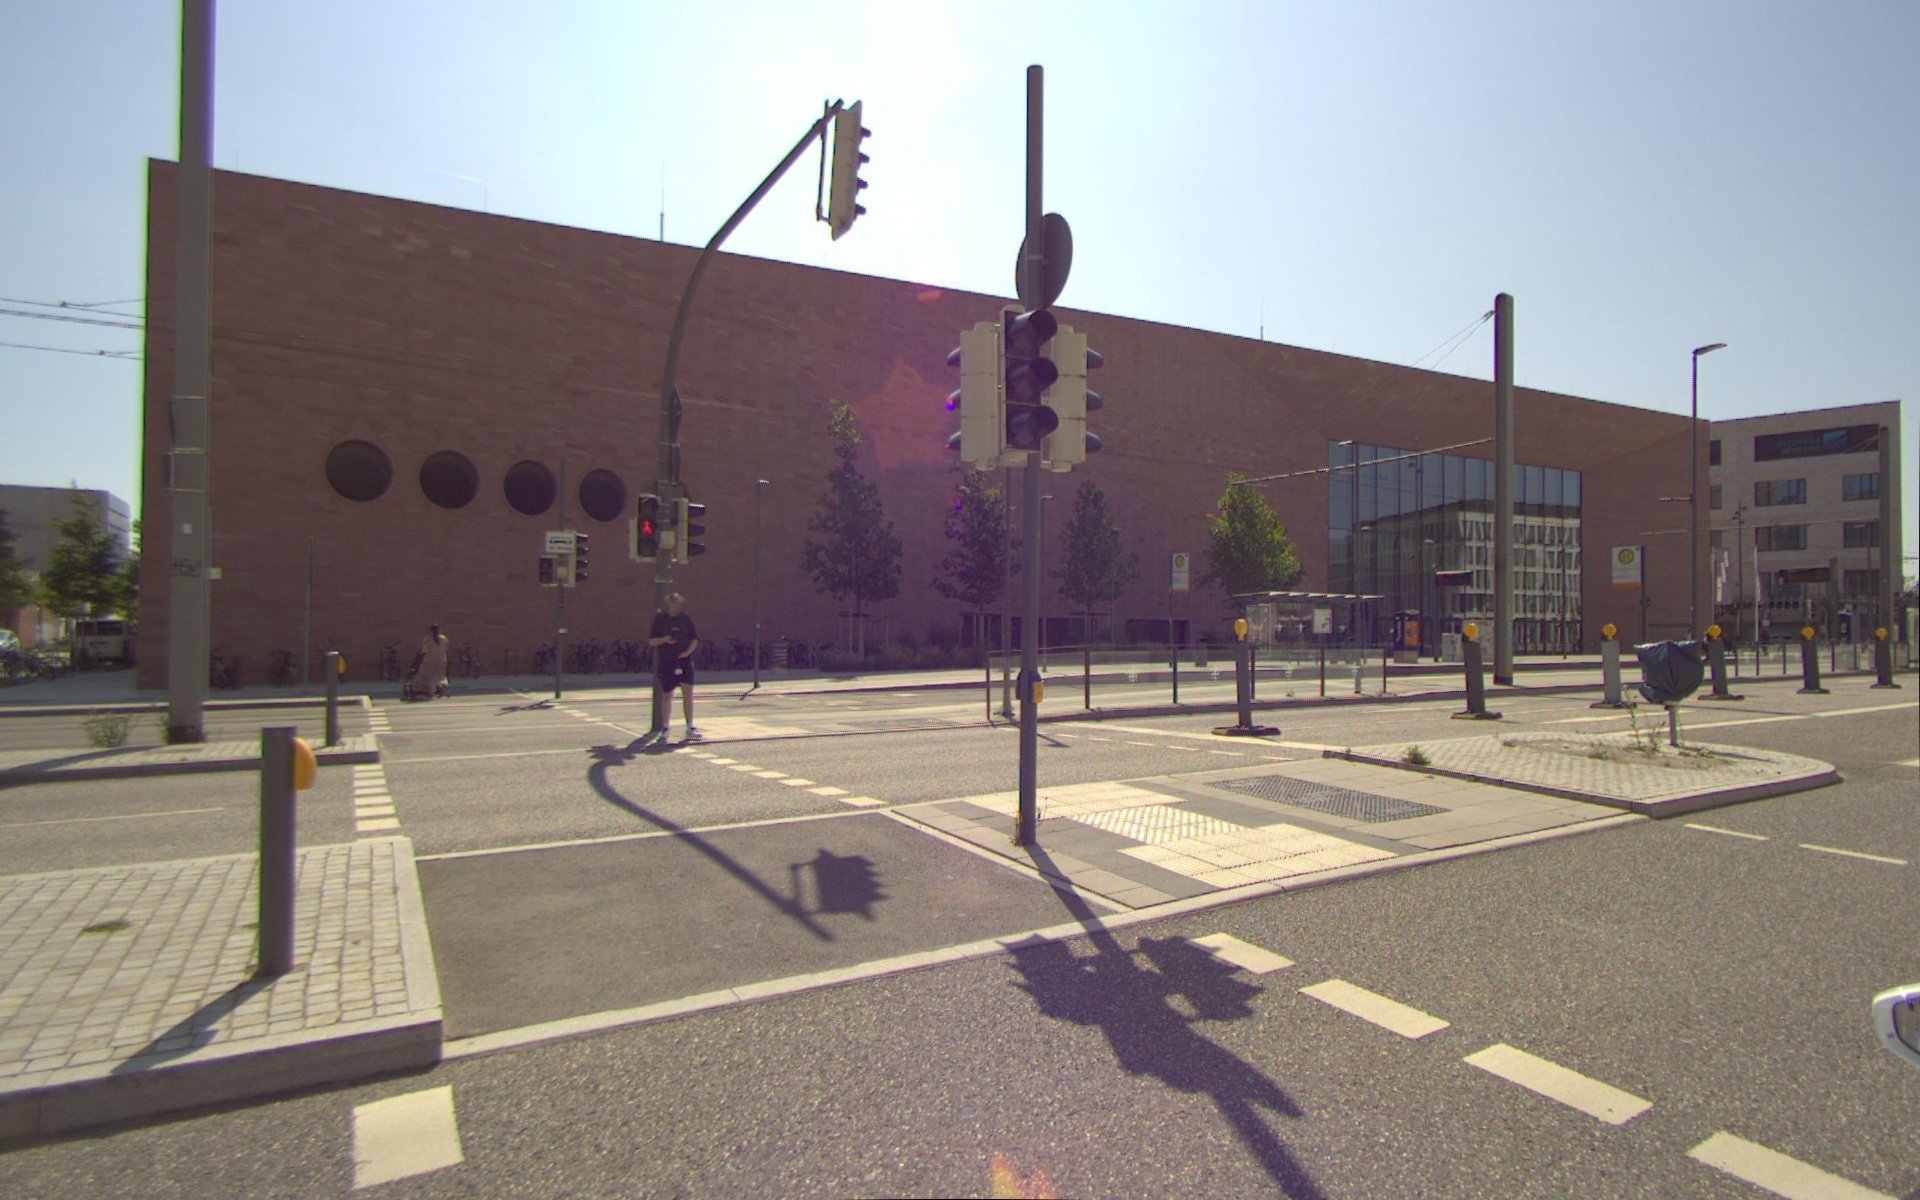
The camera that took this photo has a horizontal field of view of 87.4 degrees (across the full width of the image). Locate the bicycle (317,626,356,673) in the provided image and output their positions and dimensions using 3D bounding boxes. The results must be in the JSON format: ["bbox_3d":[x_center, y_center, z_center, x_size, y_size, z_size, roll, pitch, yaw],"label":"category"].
[{"bbox_3d":[-17.468,1.361,28.107,0.536,1.228,2.031,1,-1,-43],"label":"bicycle"}]

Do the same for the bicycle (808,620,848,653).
[{"bbox_3d":[-5.210,1.422,39.545,0.535,1.228,2.032,1,-1,-41],"label":"bicycle"}]

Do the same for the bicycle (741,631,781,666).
[{"bbox_3d":[-7.426,1.780,37.421,0.535,1.228,2.032,1,-1,-41],"label":"bicycle"}]

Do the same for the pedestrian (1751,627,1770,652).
[{"bbox_3d":[51.831,2.555,65.036,0.881,1.592,0.707,1,-2,-32],"label":"pedestrian"}]

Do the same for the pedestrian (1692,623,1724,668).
[{"bbox_3d":[31.491,1.891,42.272,0.816,1.844,0.807,1,0,-31],"label":"pedestrian"}]

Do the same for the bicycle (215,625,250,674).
[{"bbox_3d":[-19.210,1.279,26.512,0.535,1.228,2.032,1,-1,-41],"label":"bicycle"}]

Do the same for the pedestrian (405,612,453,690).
[{"bbox_3d":[-11.126,1.044,21.049,0.785,1.583,0.924,1,-1,-34],"label":"pedestrian"}]

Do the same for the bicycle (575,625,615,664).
[{"bbox_3d":[-12.092,1.467,33.239,0.535,1.228,2.032,1,-1,-41],"label":"bicycle"}]

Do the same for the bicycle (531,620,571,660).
[{"bbox_3d":[-13.160,1.277,32.259,0.535,1.228,2.032,2,-1,-41],"label":"bicycle"}]

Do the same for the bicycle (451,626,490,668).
[{"bbox_3d":[-15.015,1.413,30.765,0.535,1.228,2.032,1,-1,-41],"label":"bicycle"}]

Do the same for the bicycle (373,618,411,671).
[{"bbox_3d":[-16.448,1.269,29.065,0.535,1.472,2.032,1,-1,-41],"label":"bicycle"}]

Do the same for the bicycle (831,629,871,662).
[{"bbox_3d":[-4.388,1.807,40.314,0.535,1.228,2.032,1,-1,-41],"label":"bicycle"}]

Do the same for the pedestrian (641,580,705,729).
[{"bbox_3d":[-3.709,0.689,12.961,0.652,1.858,0.650,1,0,-27],"label":"pedestrian"}]

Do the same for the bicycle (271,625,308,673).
[{"bbox_3d":[-18.248,1.319,27.321,0.535,1.228,2.032,1,-1,-41],"label":"bicycle"}]

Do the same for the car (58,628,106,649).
[{"bbox_3d":[-64.929,2.832,74.371,1.978,1.421,3.966,3,-2,-32],"label":"car"}]

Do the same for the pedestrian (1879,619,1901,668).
[{"bbox_3d":[35.566,1.671,38.423,0.542,1.844,0.598,1,0,38],"label":"pedestrian"}]

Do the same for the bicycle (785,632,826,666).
[{"bbox_3d":[-5.972,1.859,38.640,0.535,1.228,2.032,1,-1,-41],"label":"bicycle"}]

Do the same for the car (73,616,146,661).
[{"bbox_3d":[-34.653,1.550,41.025,1.674,1.712,3.525,1,-1,-31],"label":"car"}]

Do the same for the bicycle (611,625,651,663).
[{"bbox_3d":[-11.207,1.496,34.196,0.535,1.228,2.032,1,-1,-41],"label":"bicycle"}]

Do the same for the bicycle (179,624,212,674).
[{"bbox_3d":[-19.891,1.259,26.116,0.535,1.228,2.032,1,-1,-41],"label":"bicycle"}]

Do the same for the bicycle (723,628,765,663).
[{"bbox_3d":[-7.903,1.648,36.682,0.740,1.228,1.869,2,-1,-38],"label":"bicycle"}]

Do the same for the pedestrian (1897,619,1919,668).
[{"bbox_3d":[36.365,1.662,38.418,0.654,1.844,0.721,1,0,36],"label":"pedestrian"}]

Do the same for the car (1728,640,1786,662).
[{"bbox_3d":[73.025,4.622,92.051,1.786,1.840,3.904,3,-2,-43],"label":"car"}]

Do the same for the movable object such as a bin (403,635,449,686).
[{"bbox_3d":[-11.568,1.299,21.754,0.786,1.045,0.708,1,-1,-34],"label":"movable object such as a bin"}]

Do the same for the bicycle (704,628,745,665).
[{"bbox_3d":[-8.393,1.638,35.775,0.535,1.228,2.032,1,-1,-41],"label":"bicycle"}]

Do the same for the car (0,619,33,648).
[{"bbox_3d":[-51.123,1.727,53.123,1.974,1.421,3.974,2,-2,-26],"label":"car"}]
